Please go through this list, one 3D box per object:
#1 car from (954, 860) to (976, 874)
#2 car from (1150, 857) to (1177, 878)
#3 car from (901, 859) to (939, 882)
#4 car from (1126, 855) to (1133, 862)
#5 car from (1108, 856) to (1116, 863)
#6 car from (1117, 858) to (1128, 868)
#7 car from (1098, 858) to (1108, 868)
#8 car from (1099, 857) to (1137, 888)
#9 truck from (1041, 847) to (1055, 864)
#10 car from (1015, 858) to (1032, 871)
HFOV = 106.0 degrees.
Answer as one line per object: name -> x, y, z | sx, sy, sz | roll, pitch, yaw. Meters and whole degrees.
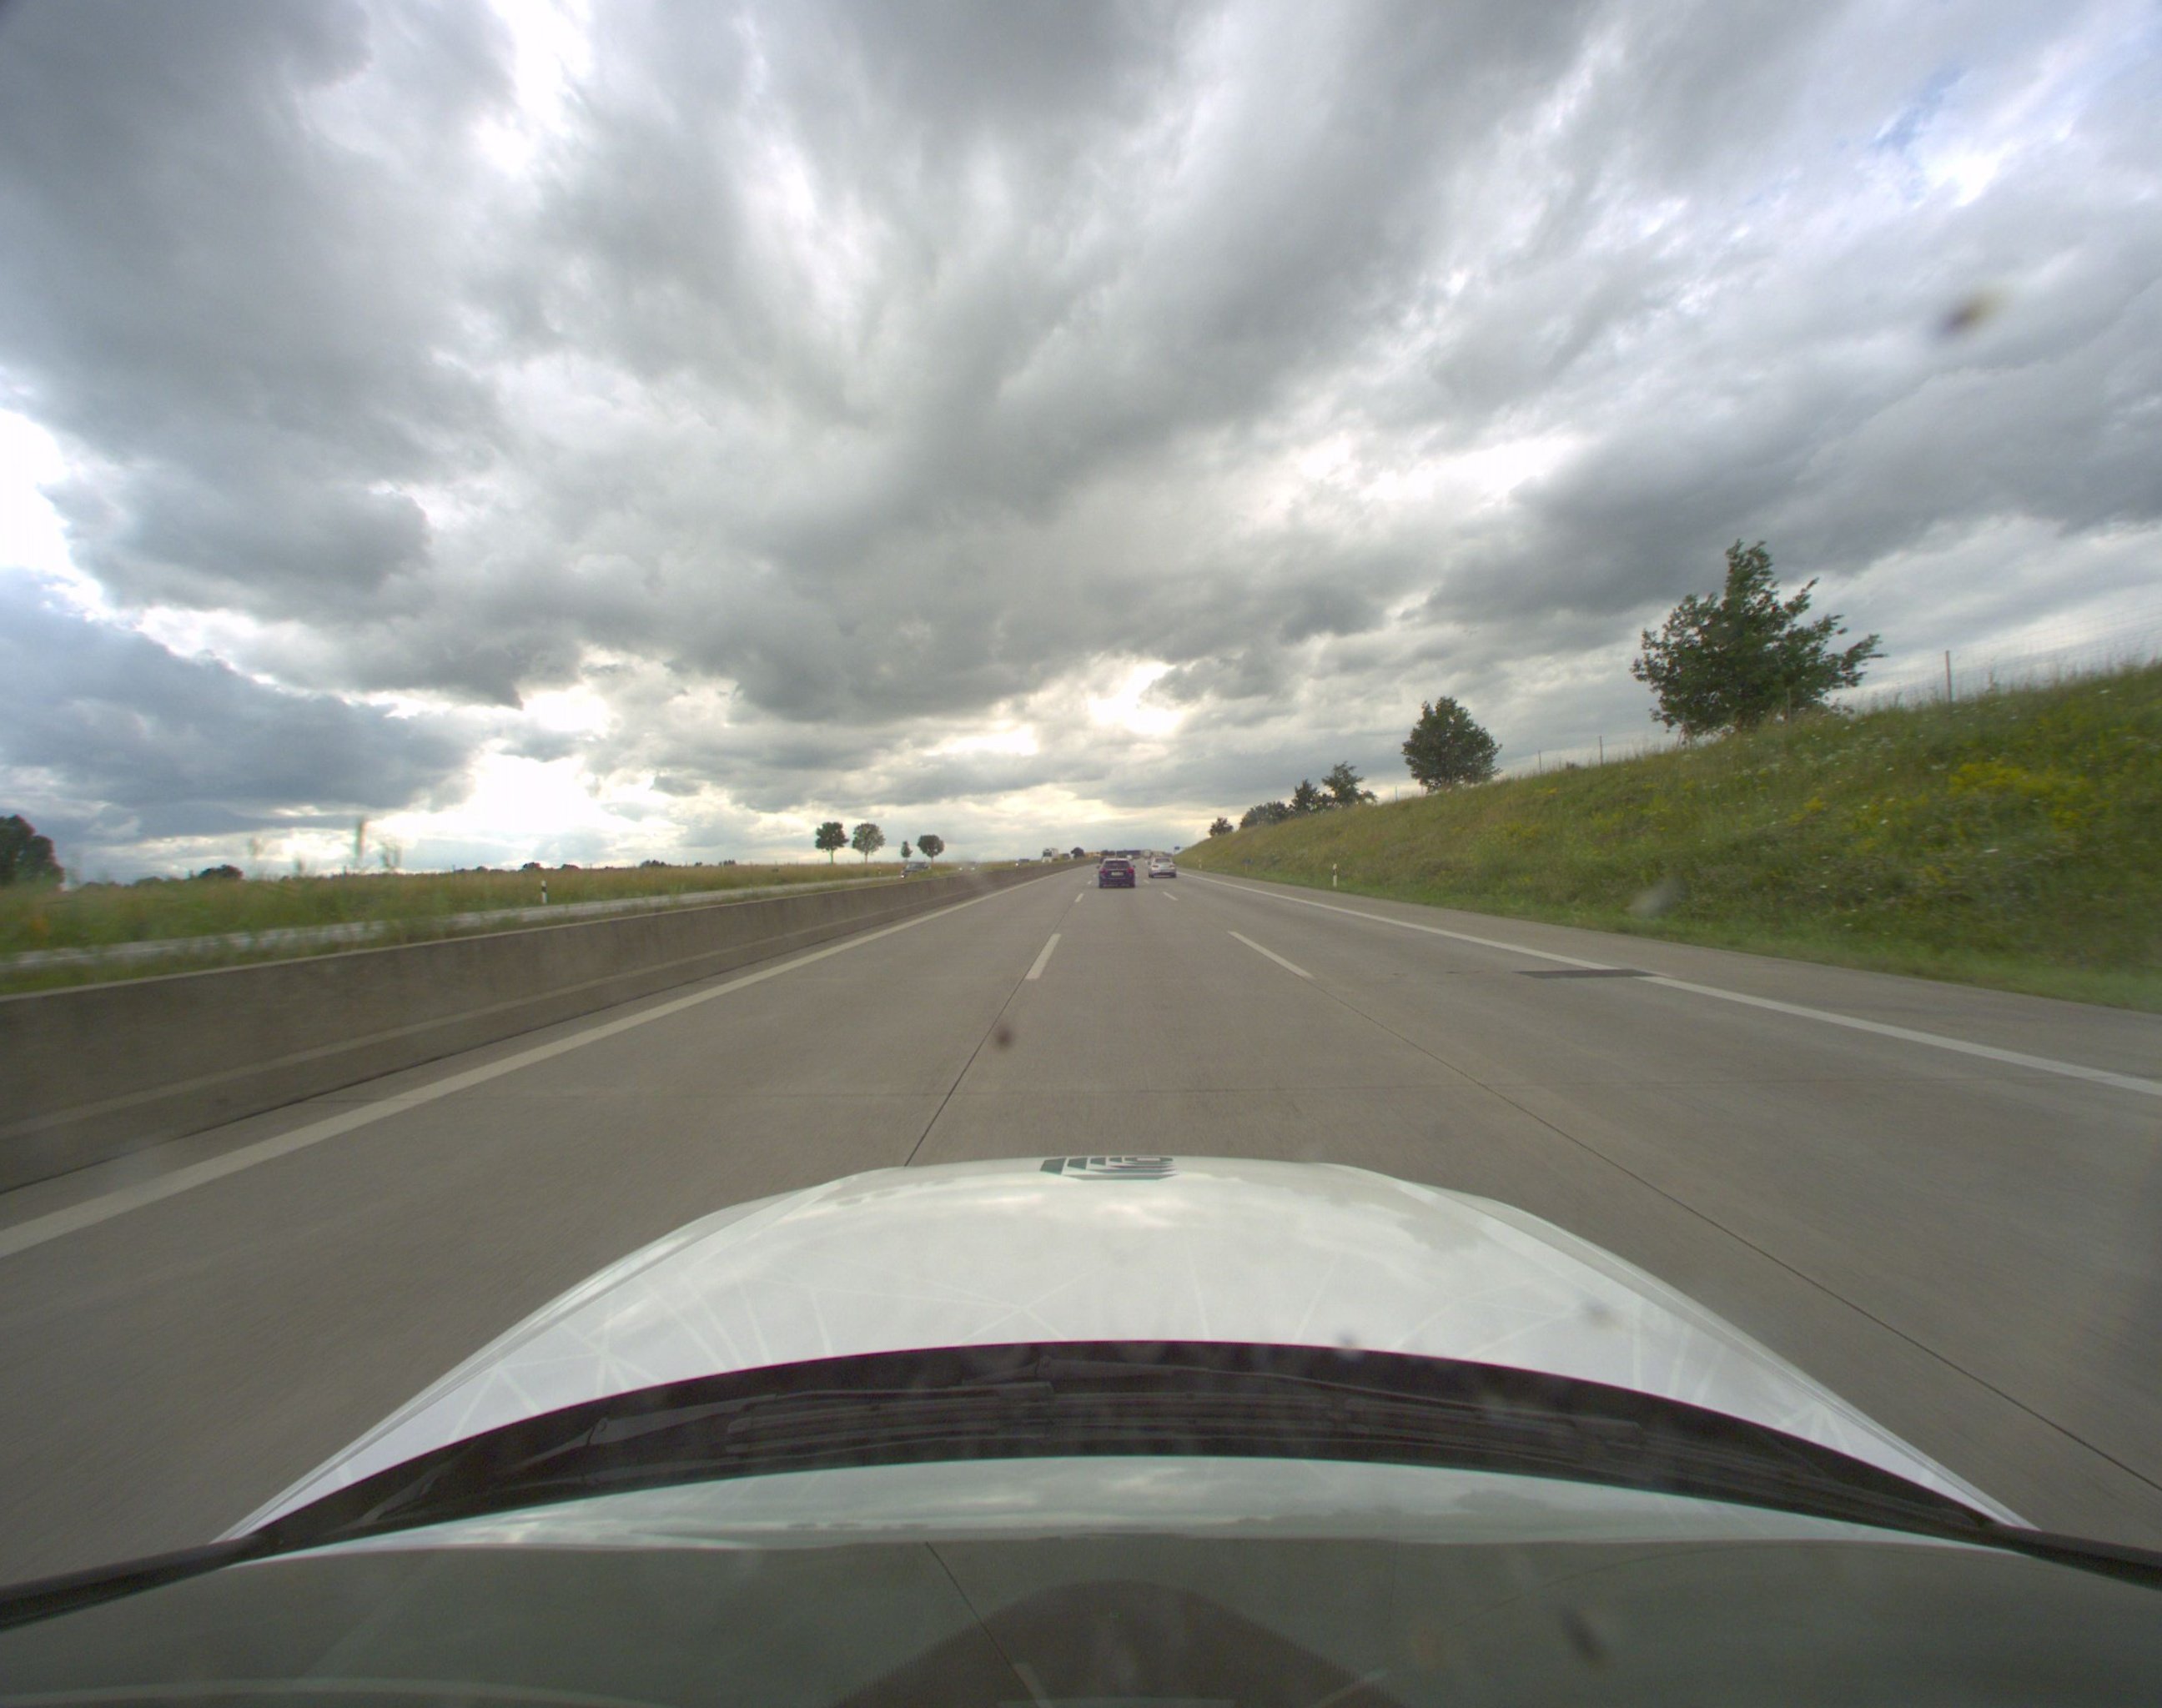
car -> -12.226, 1.351, 86.131 | 1.655, 1.399, 4.002 | -1, 0, 2
car -> 5.819, 0.933, 57.897 | 1.780, 1.403, 4.227 | -1, -1, 5
car -> -12.471, 1.274, 63.475 | 1.986, 1.684, 4.065 | -1, 0, 2
car -> 15.205, 1.328, 256.575 | 1.984, 2.014, 4.005 | -1, -1, 5
car -> 8.731, 1.584, 231.444 | 1.987, 2.014, 3.999 | -1, -1, 0
car -> 8.274, 1.833, 161.290 | 1.987, 2.014, 4.000 | -1, -1, 1
car -> 4.745, 1.969, 175.692 | 2.038, 2.014, 4.001 | -1, -1, 2
car -> 1.880, 0.895, 40.732 | 1.767, 1.413, 4.003 | -1, -1, 3
truck -> -8.459, 0.497, 209.097 | 2.828, 4.256, 6.097 | -1, -1, 4
car -> -7.321, 1.283, 104.597 | 1.683, 1.610, 4.002 | -1, 0, 2
